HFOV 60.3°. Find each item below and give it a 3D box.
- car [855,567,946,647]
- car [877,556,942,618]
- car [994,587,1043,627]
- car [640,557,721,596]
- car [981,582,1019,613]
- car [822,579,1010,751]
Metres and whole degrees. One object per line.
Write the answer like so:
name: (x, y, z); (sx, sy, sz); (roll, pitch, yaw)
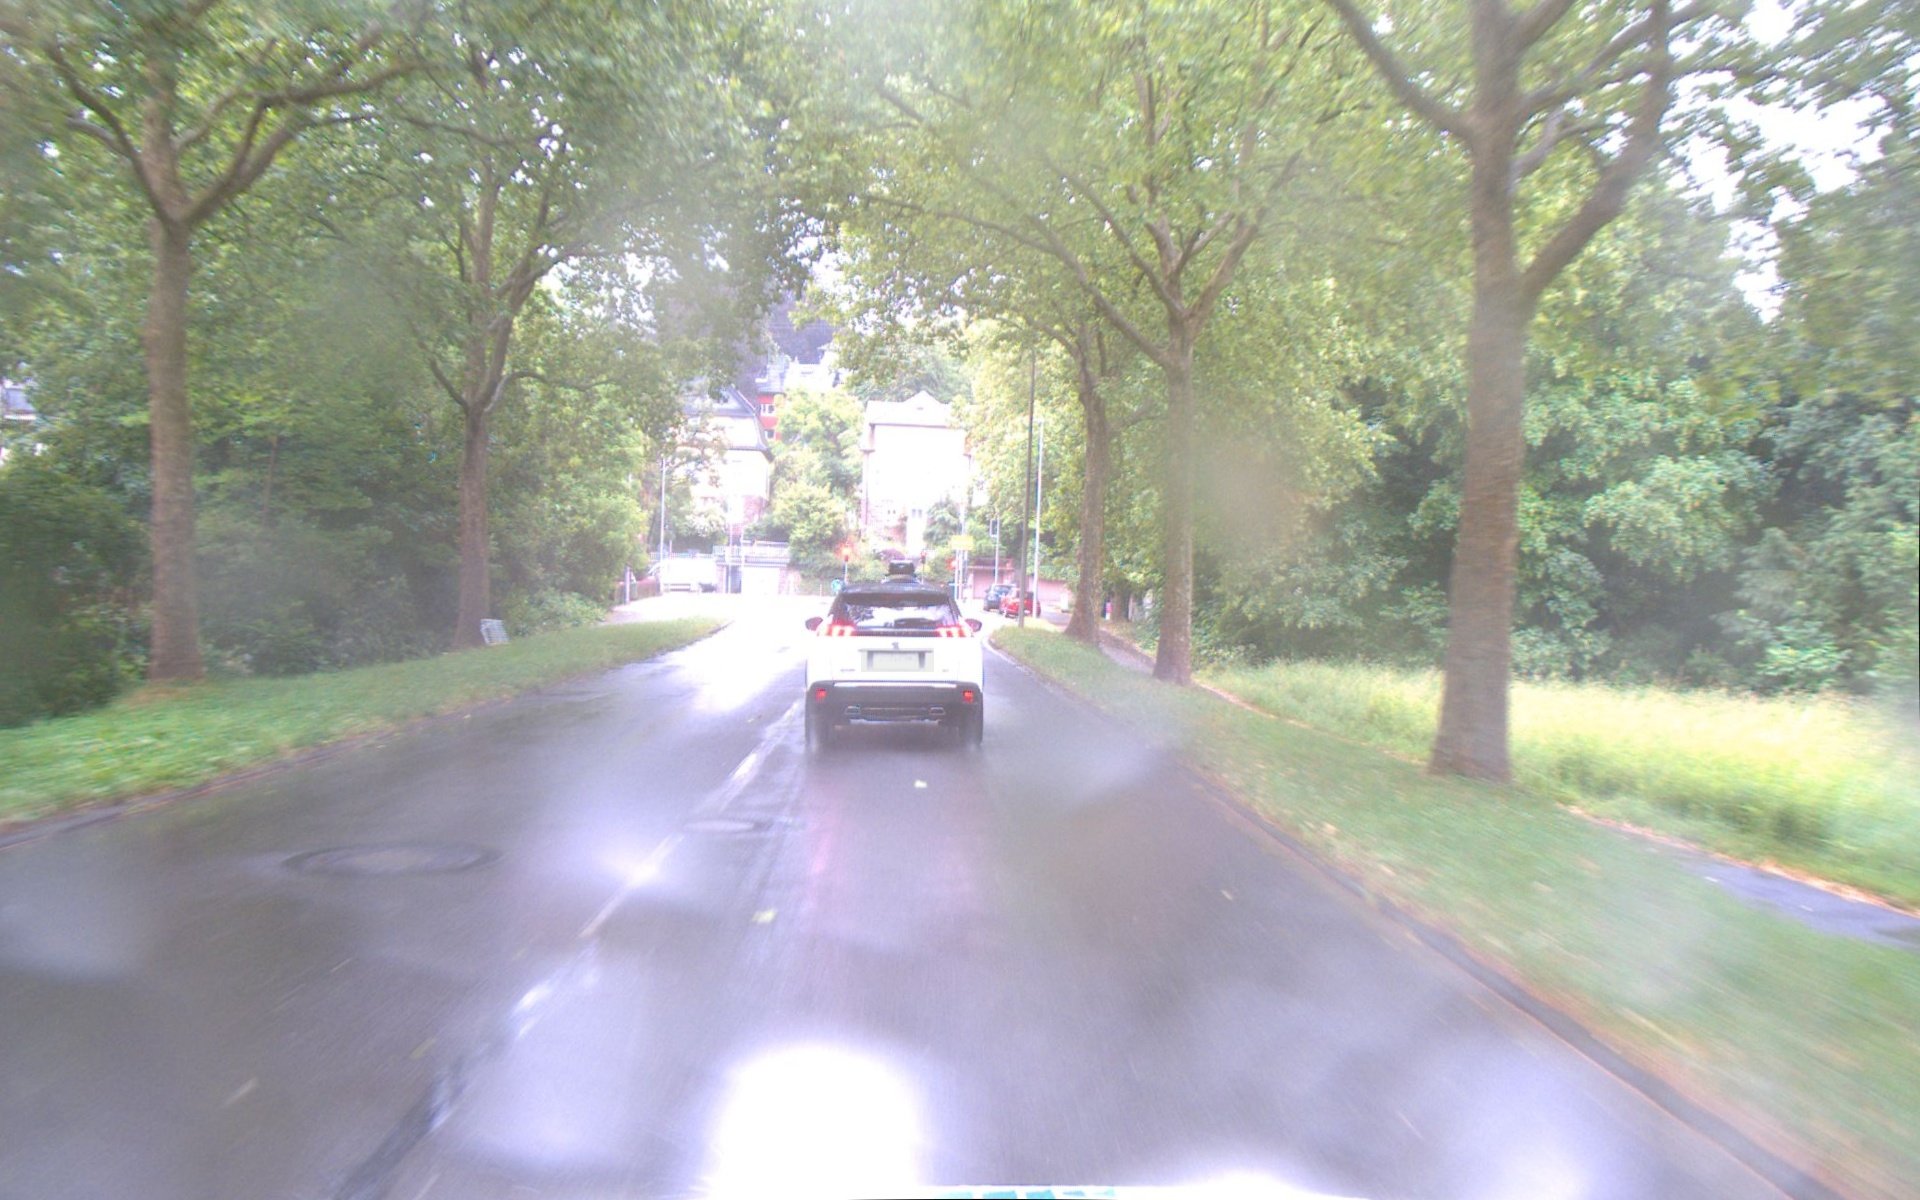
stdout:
car: (-1.321, 0.104, 36.681); (1.795, 1.481, 4.657); (4, 1, -2)
car: (-1.604, -0.433, 51.334); (1.726, 1.740, 4.597); (3, 1, -4)
car: (2.859, 0.312, 81.371); (1.786, 1.542, 3.740); (9, 2, -5)
car: (-20.664, -1.723, 122.435); (5.546, 2.538, 2.315); (3, -1, -2)
car: (2.156, -0.138, 90.801); (1.715, 1.517, 3.598); (4, 0, -3)
car: (-0.509, 0.574, 17.412); (1.717, 1.562, 4.365); (1, 1, -3)
